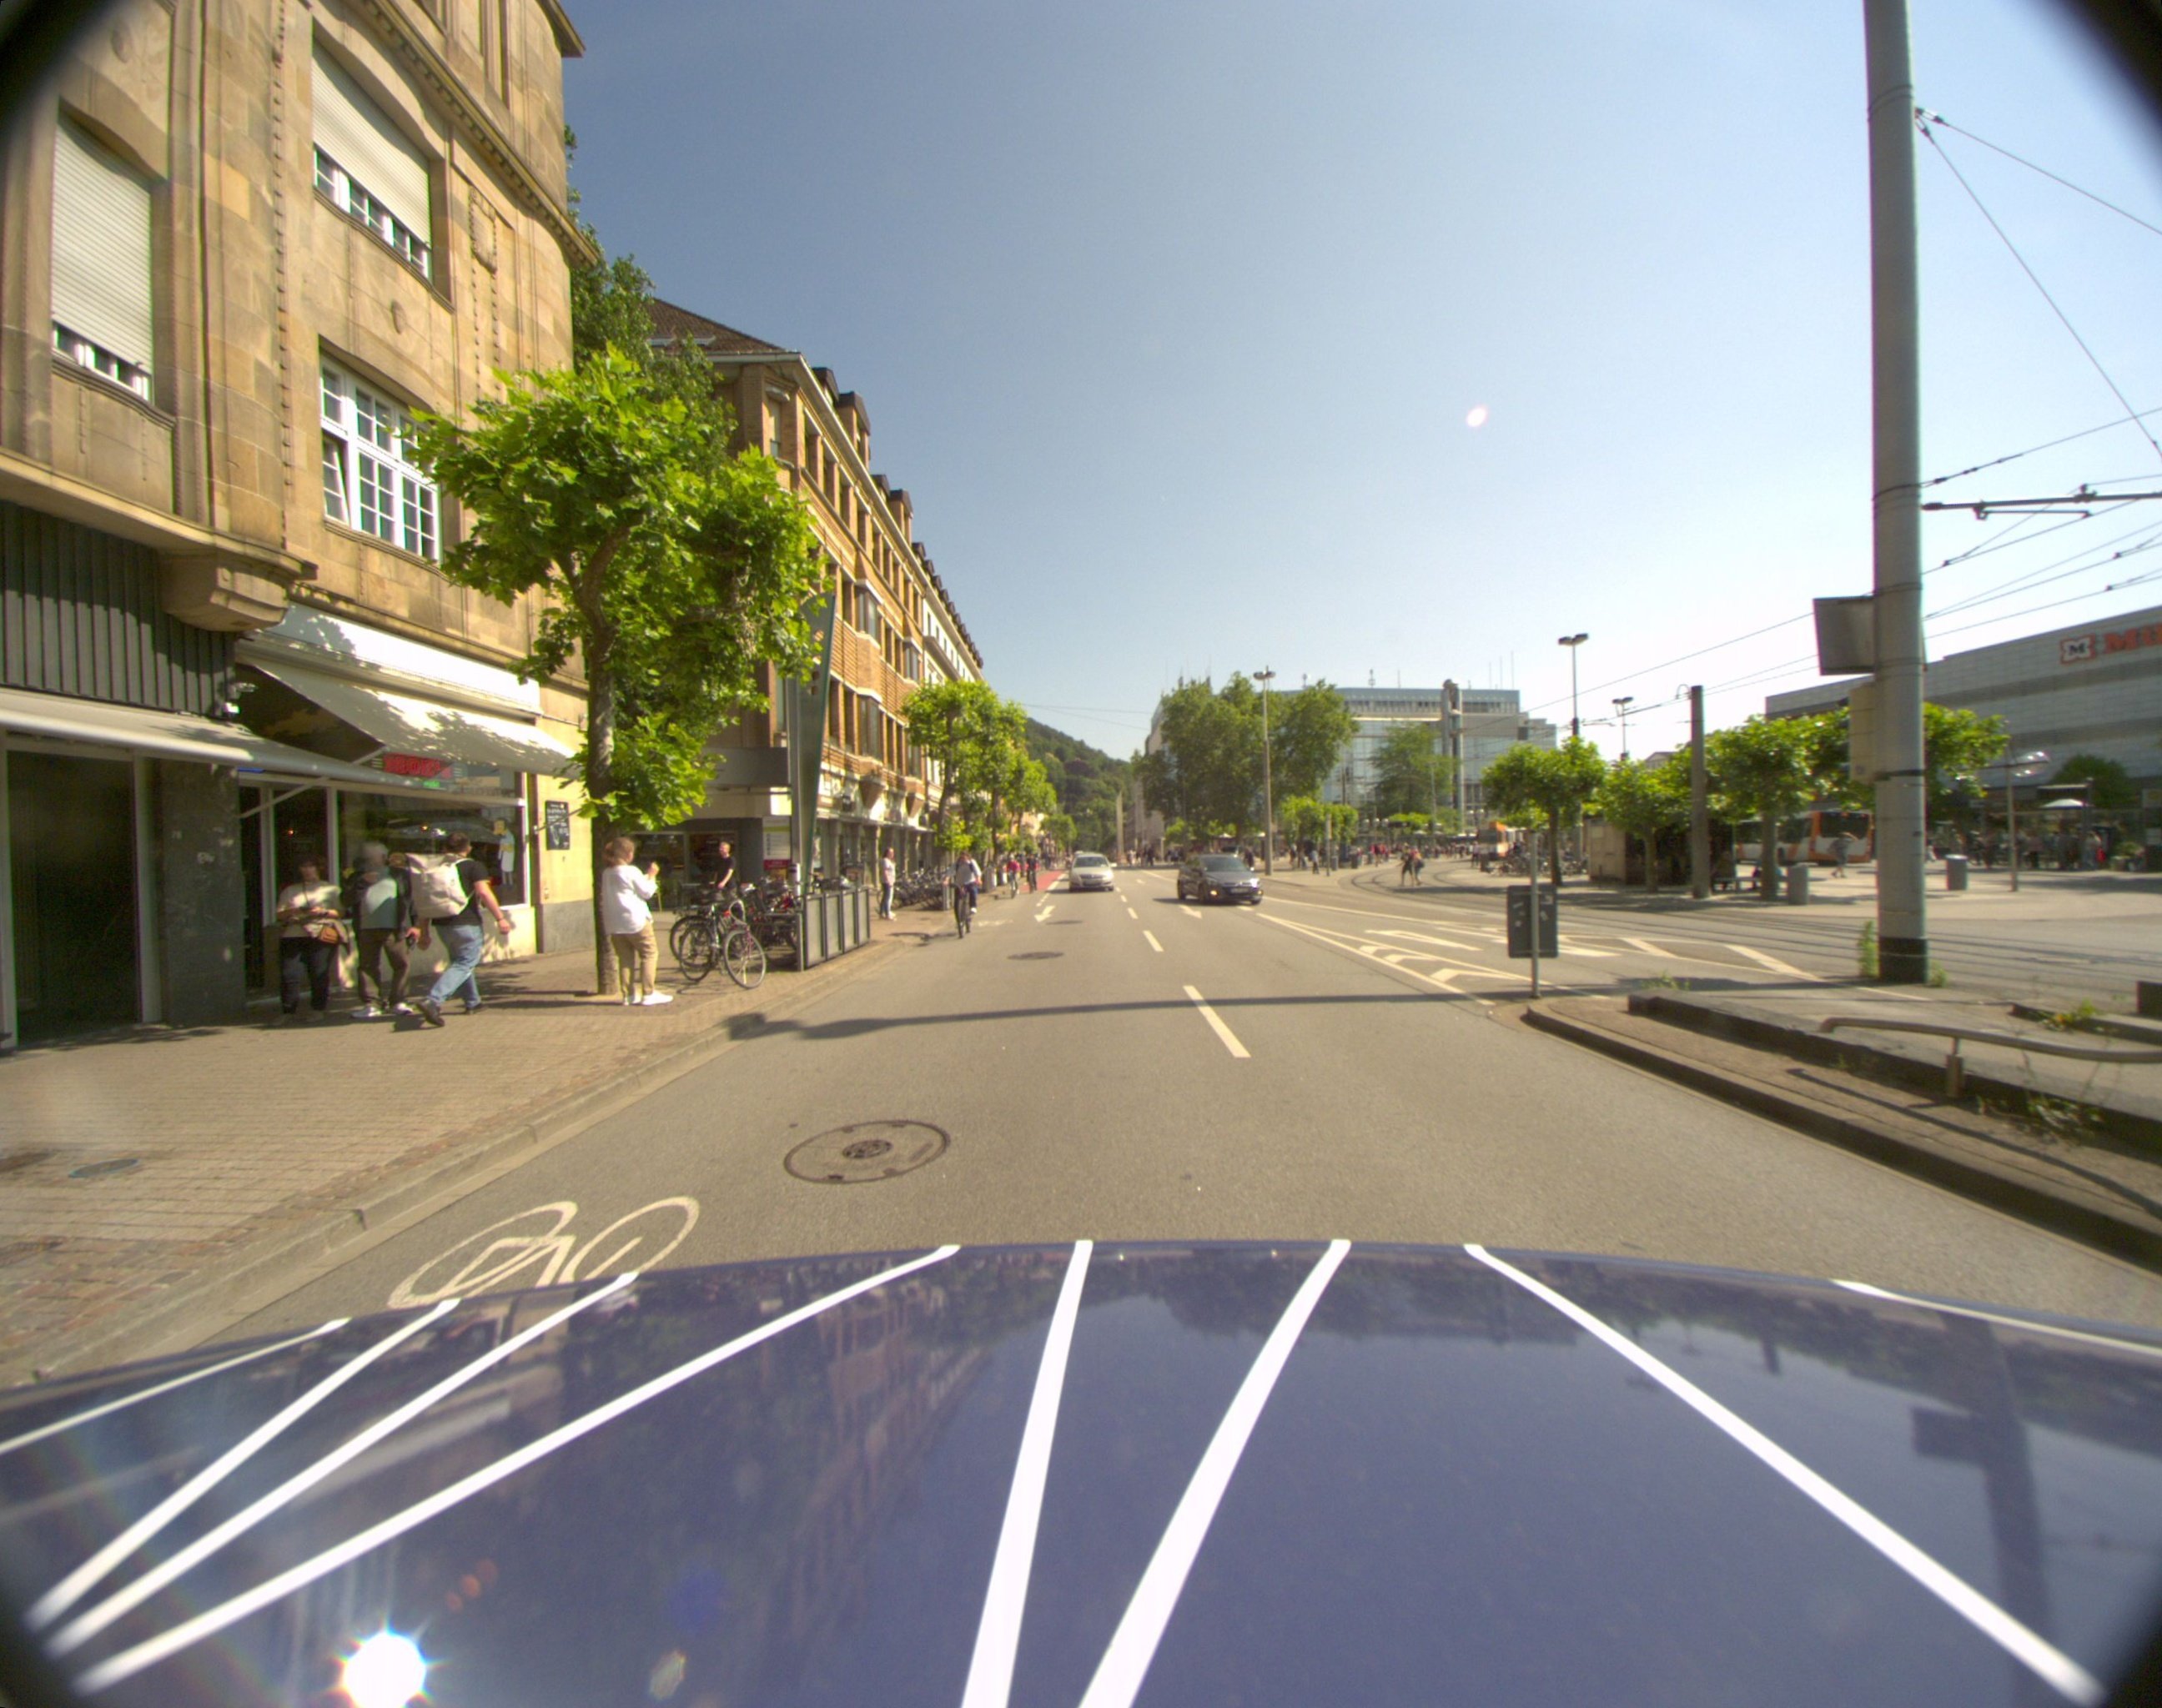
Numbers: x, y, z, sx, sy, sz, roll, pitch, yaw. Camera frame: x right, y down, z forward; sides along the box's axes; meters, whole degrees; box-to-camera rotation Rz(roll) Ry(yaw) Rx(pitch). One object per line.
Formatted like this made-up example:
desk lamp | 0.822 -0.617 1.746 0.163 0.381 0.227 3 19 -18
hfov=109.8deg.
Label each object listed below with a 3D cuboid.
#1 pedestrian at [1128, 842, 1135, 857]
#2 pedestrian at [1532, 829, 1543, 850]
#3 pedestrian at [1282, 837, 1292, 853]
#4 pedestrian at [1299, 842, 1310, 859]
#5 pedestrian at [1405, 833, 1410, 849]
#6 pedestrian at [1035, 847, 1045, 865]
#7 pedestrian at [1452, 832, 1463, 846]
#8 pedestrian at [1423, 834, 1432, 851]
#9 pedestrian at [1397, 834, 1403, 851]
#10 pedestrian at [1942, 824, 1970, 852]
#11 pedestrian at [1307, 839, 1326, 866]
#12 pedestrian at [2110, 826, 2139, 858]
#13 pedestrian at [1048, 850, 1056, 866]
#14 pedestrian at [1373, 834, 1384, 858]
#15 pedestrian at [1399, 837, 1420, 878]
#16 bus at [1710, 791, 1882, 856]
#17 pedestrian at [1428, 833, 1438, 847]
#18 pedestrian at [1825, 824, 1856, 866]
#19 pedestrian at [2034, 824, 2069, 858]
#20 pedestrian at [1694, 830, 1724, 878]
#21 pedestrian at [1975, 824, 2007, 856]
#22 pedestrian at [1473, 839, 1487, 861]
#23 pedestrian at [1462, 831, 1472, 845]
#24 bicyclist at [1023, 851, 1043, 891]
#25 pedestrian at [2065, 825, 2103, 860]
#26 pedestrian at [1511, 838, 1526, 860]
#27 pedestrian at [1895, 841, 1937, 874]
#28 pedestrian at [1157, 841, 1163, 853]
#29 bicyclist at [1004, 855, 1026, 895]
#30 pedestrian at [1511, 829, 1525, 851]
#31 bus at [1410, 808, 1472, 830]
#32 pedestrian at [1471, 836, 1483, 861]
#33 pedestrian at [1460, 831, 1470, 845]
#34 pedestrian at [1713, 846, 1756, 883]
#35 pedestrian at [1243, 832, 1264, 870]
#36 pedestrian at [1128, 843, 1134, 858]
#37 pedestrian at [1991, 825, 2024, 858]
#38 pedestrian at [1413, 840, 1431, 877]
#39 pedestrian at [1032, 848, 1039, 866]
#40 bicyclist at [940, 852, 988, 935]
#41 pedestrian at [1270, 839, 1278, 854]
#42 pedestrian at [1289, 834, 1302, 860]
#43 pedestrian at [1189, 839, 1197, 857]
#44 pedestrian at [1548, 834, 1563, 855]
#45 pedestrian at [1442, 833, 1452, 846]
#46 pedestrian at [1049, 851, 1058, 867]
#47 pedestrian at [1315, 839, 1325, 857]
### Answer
pedestrian | 5.882 -0.508 87.976 0.639 1.737 0.733 -3 1 -1
pedestrian | 37.078 -1.196 61.681 0.559 1.708 0.465 1 1 -22
pedestrian | 23.779 -1.056 87.871 0.752 1.737 0.782 -4 1 -10
pedestrian | 15.978 -0.251 54.222 0.577 1.226 0.555 -1 1 34
pedestrian | 31.385 -1.215 73.060 0.385 1.540 0.412 1 1 25
pedestrian | -3.917 0.175 72.709 0.620 1.675 0.579 -2 2 43
pedestrian | 40.813 -1.626 82.358 0.757 1.464 0.555 -3 1 0
pedestrian | 31.808 -1.054 69.753 0.477 1.540 0.451 1 1 -26
pedestrian | 29.593 -1.036 70.465 0.474 1.540 0.493 1 1 25
pedestrian | 46.286 -0.846 40.191 0.624 1.457 0.680 1 0 3
pedestrian | 14.731 -0.118 47.542 0.895 1.649 0.680 -1 1 -9
pedestrian | 42.251 -0.482 30.775 0.518 1.255 0.453 1 0 5
pedestrian | -3.155 0.405 81.868 0.606 1.726 0.647 -2 2 -22
pedestrian | 23.018 -0.627 58.868 0.577 1.805 0.605 1 0 0
pedestrian | 14.163 0.155 32.737 0.527 1.723 0.586 1 1 -30
bus | 44.351 -1.876 47.901 3.060 3.400 12.474 -3 1 19
pedestrian | 38.715 -1.506 83.567 0.757 1.464 0.555 -3 1 0
pedestrian | 29.346 -0.328 29.368 0.608 1.598 0.549 1 0 3
pedestrian | 42.593 -0.564 33.349 0.625 1.457 0.680 1 0 -5
pedestrian | 21.156 -0.009 25.600 0.577 1.600 0.602 1 1 -28
pedestrian | 42.352 -0.660 35.362 0.625 1.457 0.680 1 0 -3
pedestrian | 26.948 -0.281 51.362 0.626 1.457 0.552 1 0 -22
pedestrian | 42.175 -1.720 83.038 0.757 1.464 0.555 -3 1 0
bicyclist | -1.927 0.670 30.573 0.690 1.568 0.778 -3 1 -3
pedestrian | 42.203 -0.464 31.974 0.624 1.457 0.681 1 0 5
pedestrian | 28.654 -0.352 49.733 0.682 1.410 0.623 -2 1 -38
pedestrian | 25.925 0.113 23.587 0.635 0.995 0.580 1 0 3
pedestrian | 10.832 -0.948 104.131 0.732 1.660 0.640 -3 1 14
bicyclist | -2.392 0.751 27.654 0.690 1.388 0.778 -3 1 -1
pedestrian | 35.228 -1.119 61.230 0.626 1.784 0.679 1 0 -22
bus | 55.915 -5.446 117.901 12.201 2.774 2.384 -4 1 -32
pedestrian | 27.154 -0.371 52.103 0.473 1.656 0.521 1 0 -22
pedestrian | 42.247 -1.737 83.649 0.757 1.464 0.555 -3 1 0
pedestrian | 20.643 0.326 24.027 0.677 1.164 0.752 1 0 -6
pedestrian | 9.309 -0.173 41.008 0.897 1.996 0.678 0 1 -43
pedestrian | 5.603 -0.405 85.006 0.575 1.704 0.652 -3 1 -1
pedestrian | 42.036 -0.546 34.473 0.625 1.457 0.680 1 0 -5
pedestrian | 14.798 0.194 32.969 0.525 1.600 0.627 1 0 10
pedestrian | -4.395 0.299 73.959 0.578 1.675 0.775 -3 1 -3
bicyclist | -2.311 0.770 15.106 0.750 1.568 0.778 -3 1 -1
pedestrian | 22.064 -0.818 86.882 0.638 1.683 0.753 -3 1 23
pedestrian | 16.385 -0.524 58.086 0.693 1.996 0.564 -2 1 -9
pedestrian | 10.558 -0.578 71.763 0.516 1.733 0.518 -4 1 -13
pedestrian | 35.291 -0.697 56.520 0.626 1.492 0.679 1 0 -22
pedestrian | 39.930 -1.576 82.836 0.757 1.464 0.555 -3 1 0
pedestrian | -2.928 0.502 80.616 0.579 1.675 0.726 -4 1 -22
pedestrian | 19.537 -0.463 62.113 0.727 1.456 0.681 -3 -1 21
